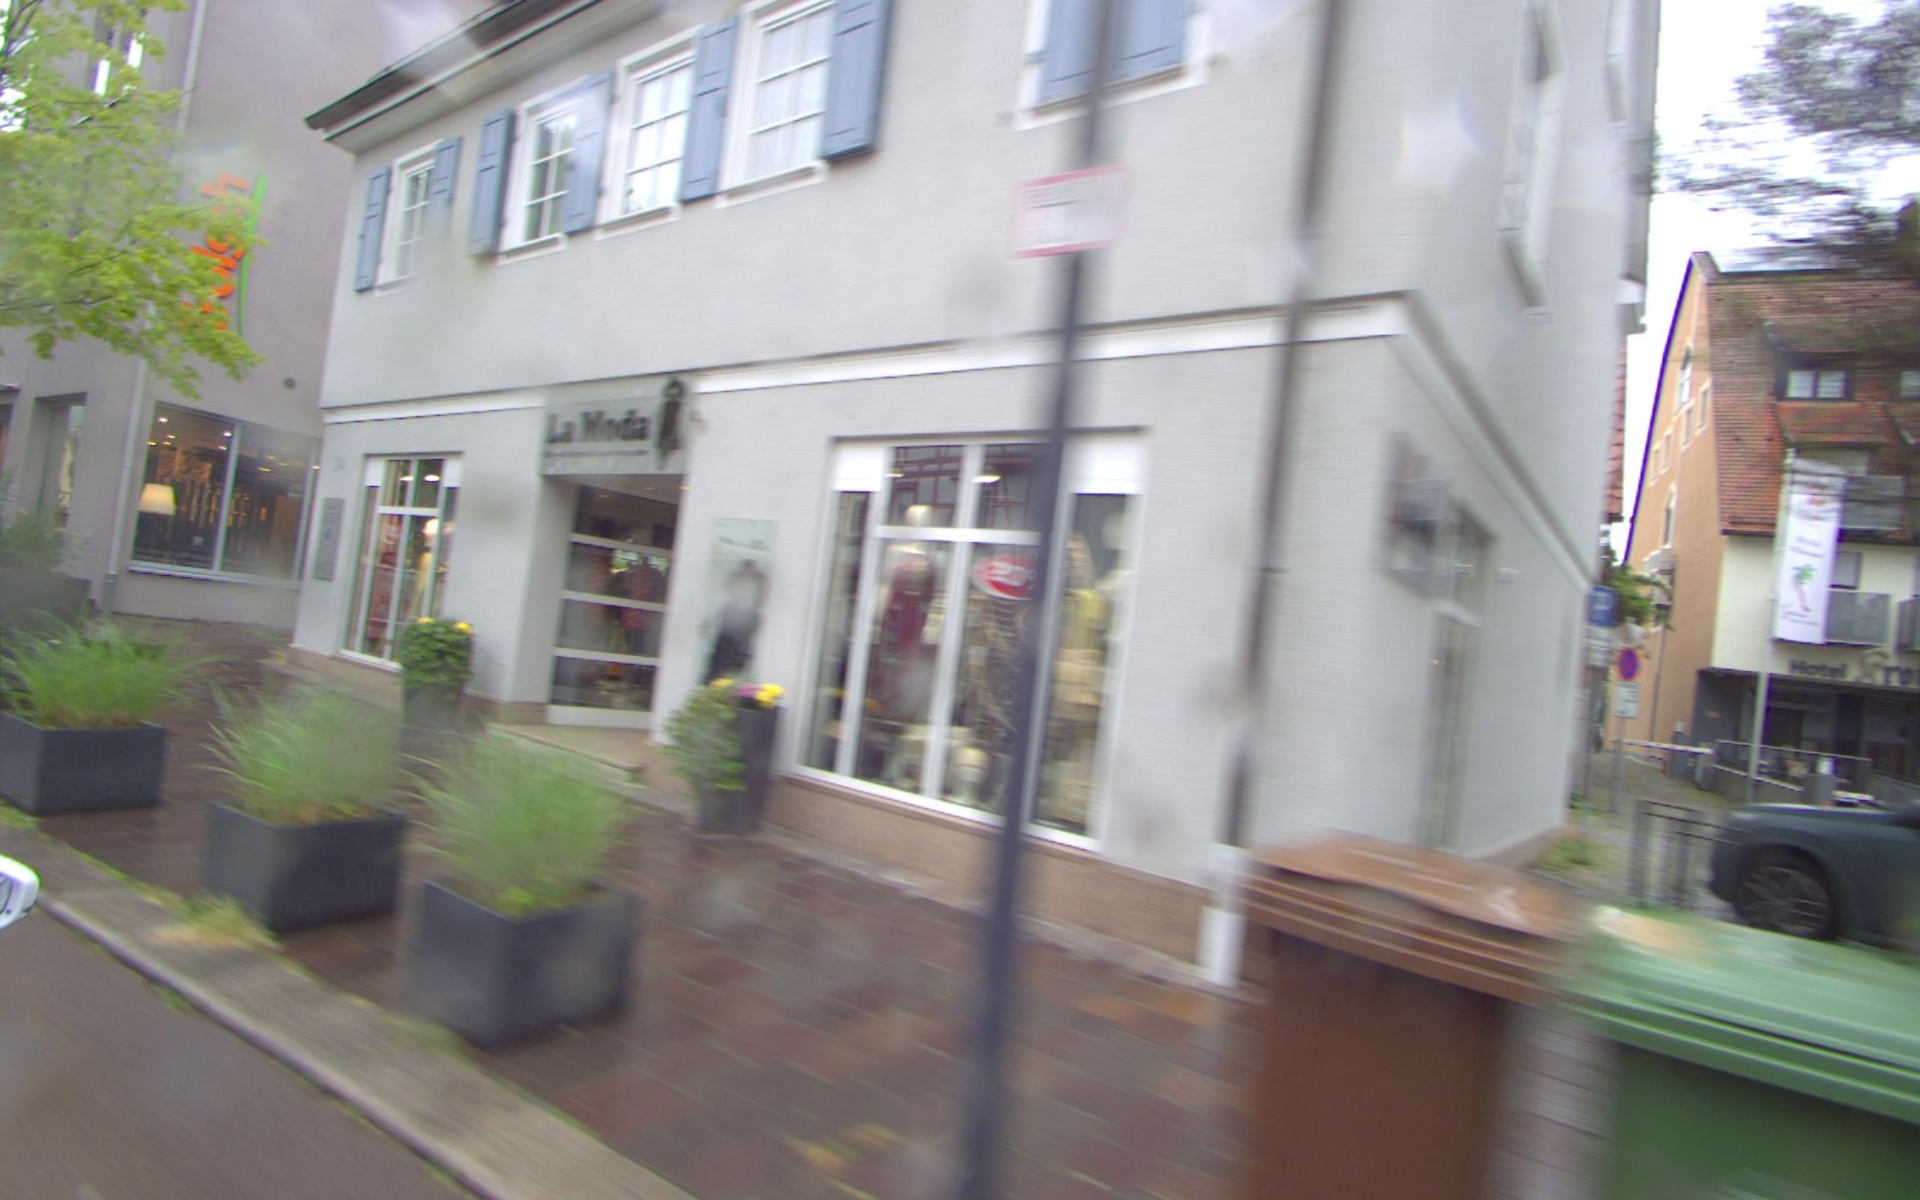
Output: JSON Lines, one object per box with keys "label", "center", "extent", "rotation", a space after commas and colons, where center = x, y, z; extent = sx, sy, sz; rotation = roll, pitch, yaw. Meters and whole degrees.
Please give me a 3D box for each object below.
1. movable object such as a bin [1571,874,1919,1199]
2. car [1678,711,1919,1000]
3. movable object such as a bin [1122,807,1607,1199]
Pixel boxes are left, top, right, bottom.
{"label": "movable object such as a bin", "center": [1.327, 1.186, 1.649], "extent": [0.555, 1.264, 0.679], "rotation": [6, -2, 32]}
{"label": "car", "center": [7.335, 1.896, 6.257], "extent": [1.797, 1.675, 4.344], "rotation": [7, 0, -16]}
{"label": "movable object such as a bin", "center": [0.796, 1.130, 2.009], "extent": [0.719, 1.255, 0.679], "rotation": [6, -2, 33]}
